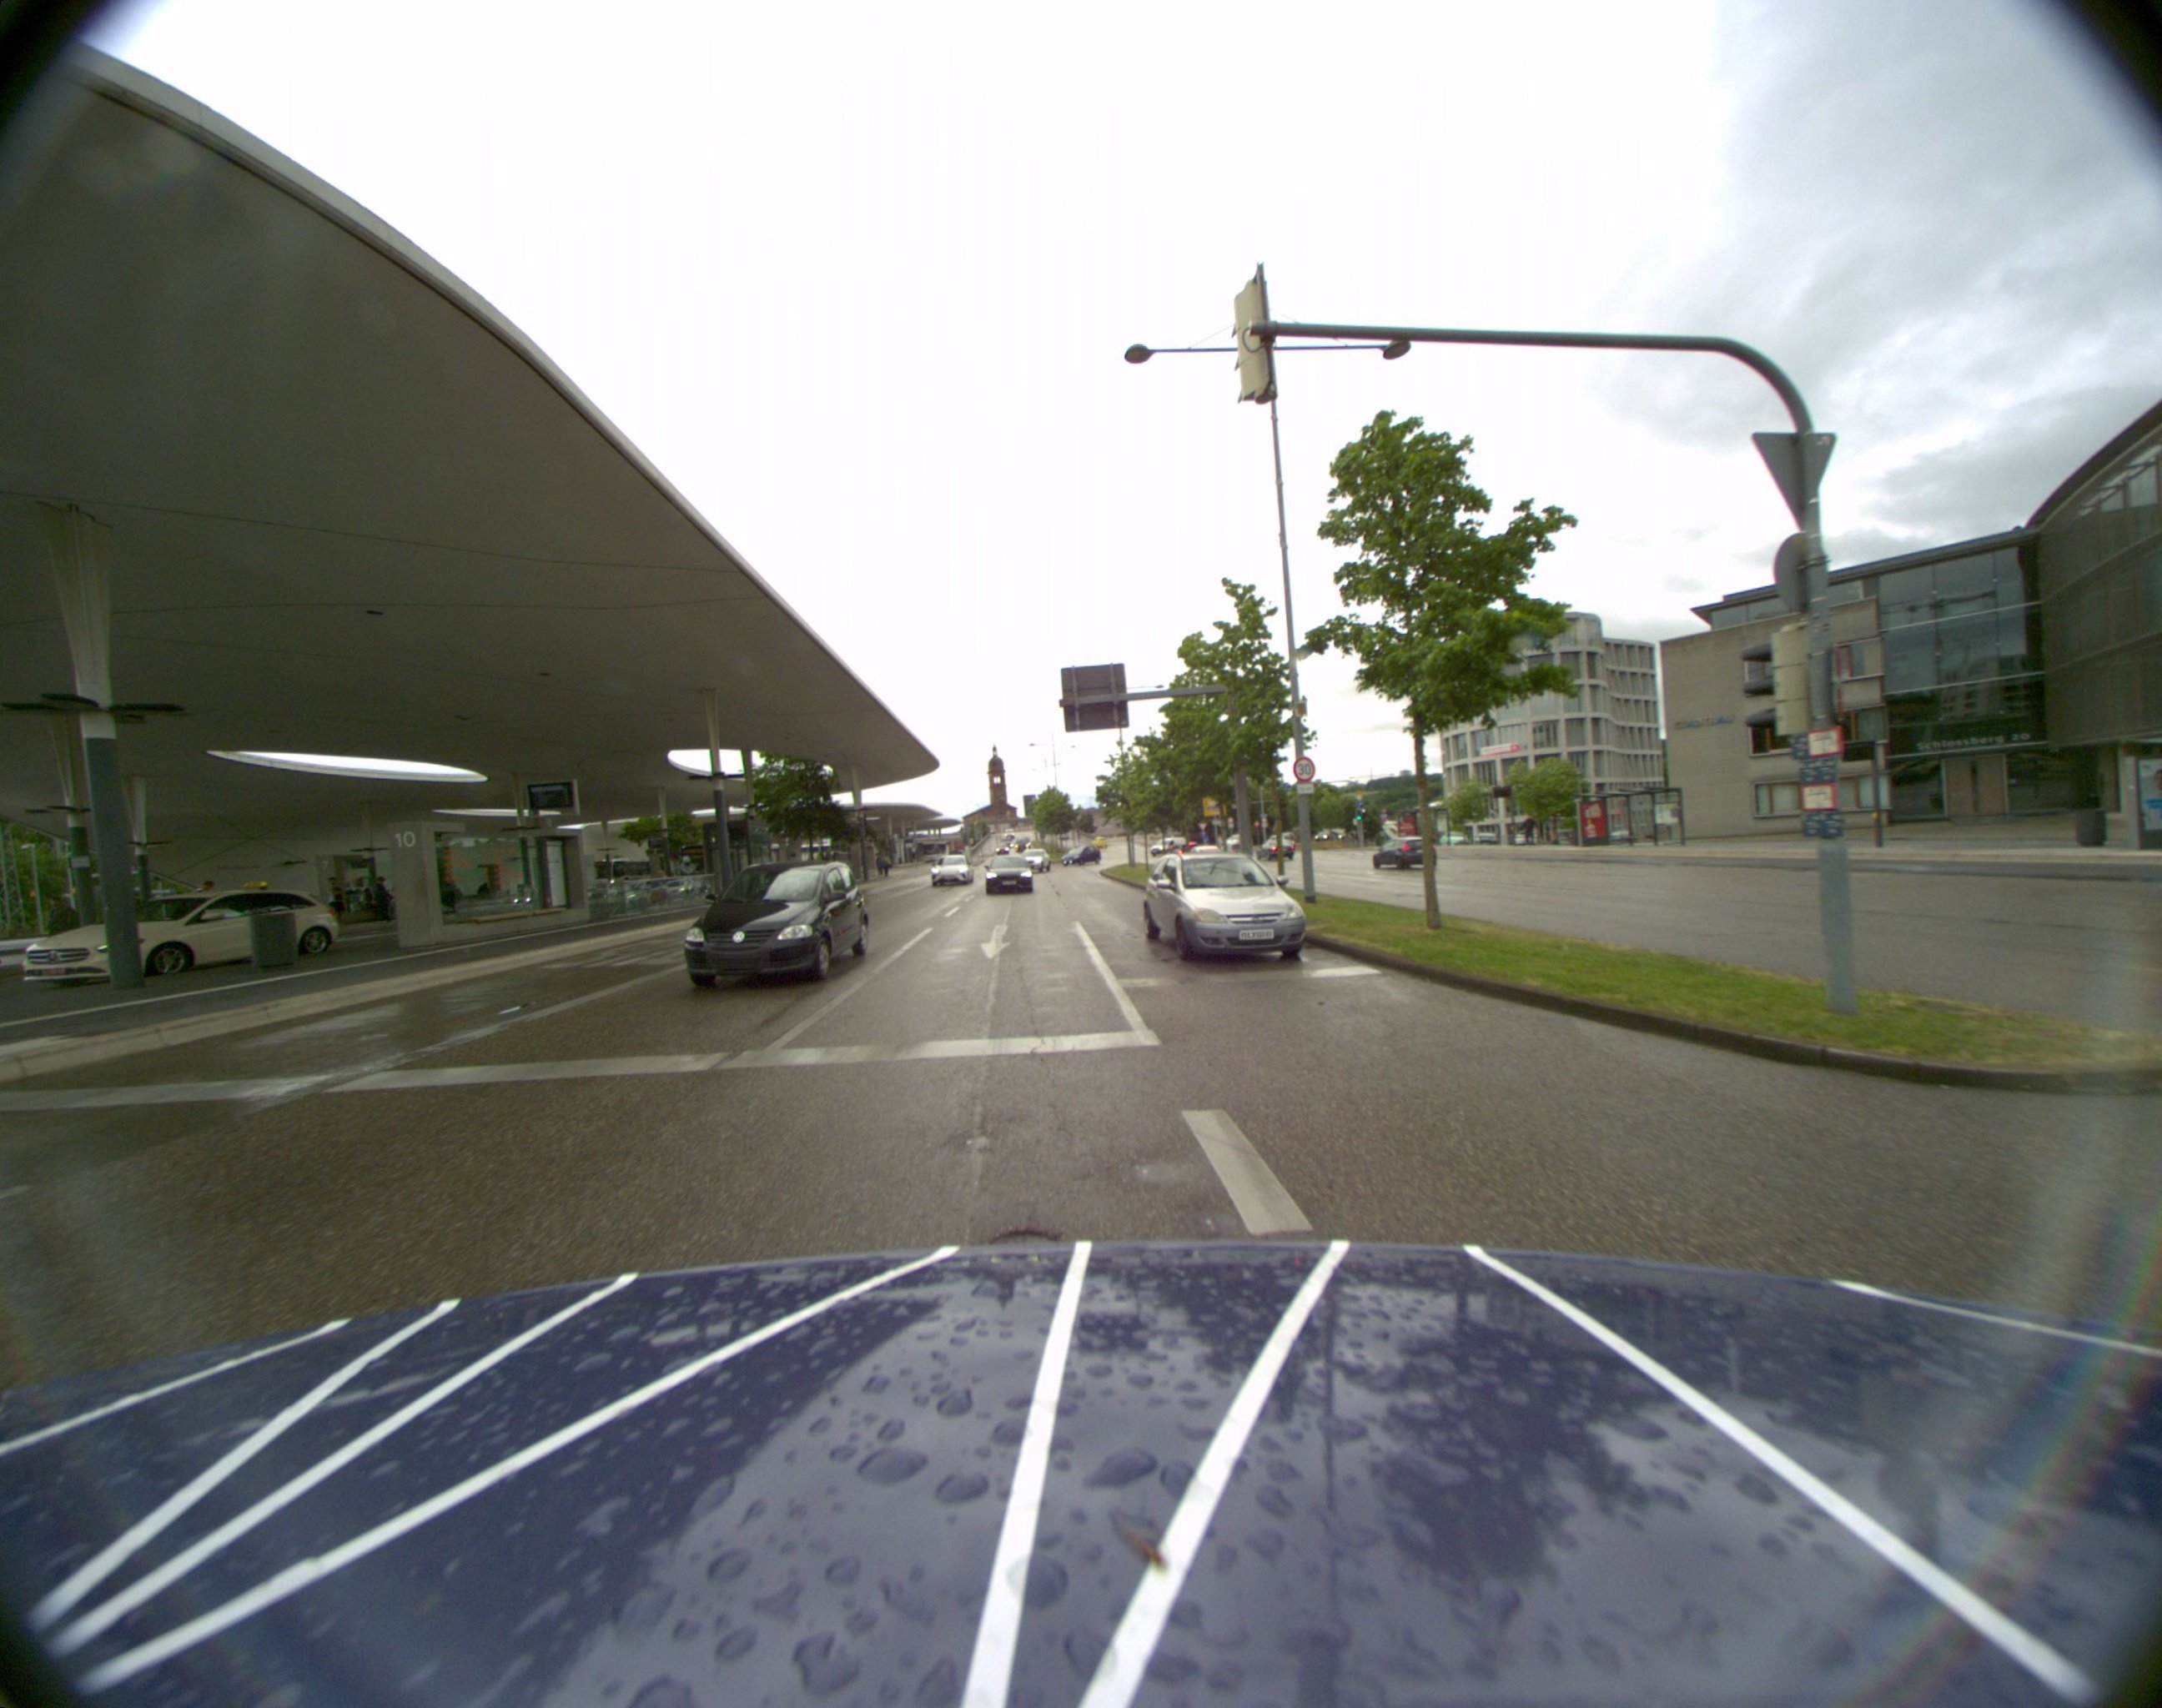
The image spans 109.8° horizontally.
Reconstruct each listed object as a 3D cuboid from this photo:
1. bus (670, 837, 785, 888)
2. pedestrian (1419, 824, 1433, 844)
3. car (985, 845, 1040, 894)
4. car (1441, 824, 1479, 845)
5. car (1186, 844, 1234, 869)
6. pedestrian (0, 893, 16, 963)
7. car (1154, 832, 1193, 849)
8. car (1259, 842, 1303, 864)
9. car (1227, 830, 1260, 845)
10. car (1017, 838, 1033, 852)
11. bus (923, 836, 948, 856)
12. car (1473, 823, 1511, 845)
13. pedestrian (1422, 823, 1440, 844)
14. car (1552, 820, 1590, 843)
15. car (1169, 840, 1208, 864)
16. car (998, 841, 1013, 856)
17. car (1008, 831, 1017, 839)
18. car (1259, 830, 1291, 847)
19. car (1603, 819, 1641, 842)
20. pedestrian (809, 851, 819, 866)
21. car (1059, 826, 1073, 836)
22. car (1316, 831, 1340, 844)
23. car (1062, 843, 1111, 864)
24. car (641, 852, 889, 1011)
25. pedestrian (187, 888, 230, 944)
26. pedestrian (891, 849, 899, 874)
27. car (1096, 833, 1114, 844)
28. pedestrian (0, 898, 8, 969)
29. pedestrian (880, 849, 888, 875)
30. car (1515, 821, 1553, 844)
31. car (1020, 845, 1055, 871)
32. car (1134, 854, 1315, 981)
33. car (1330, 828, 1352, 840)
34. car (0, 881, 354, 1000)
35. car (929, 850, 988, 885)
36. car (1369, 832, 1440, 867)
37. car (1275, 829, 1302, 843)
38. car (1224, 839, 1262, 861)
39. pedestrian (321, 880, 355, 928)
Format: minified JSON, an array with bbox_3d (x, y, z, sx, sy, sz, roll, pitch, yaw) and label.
[{"bbox_3d":[-24.139,0.469,52.894,2.877,3.064,11.916,-2,1,-3],"label":"bus"},{"bbox_3d":[25.351,-1.479,55.831,0.733,1.482,0.734,-2,2,5],"label":"pedestrian"},{"bbox_3d":[-2.596,0.556,29.796,1.876,1.692,4.155,-2,1,-2],"label":"car"},{"bbox_3d":[32.843,-1.700,65.724,1.871,1.692,4.165,-1,2,42],"label":"car"},{"bbox_3d":[7.735,0.115,45.944,2.010,1.345,4.162,-2,1,-3],"label":"car"},{"bbox_3d":[-24.037,1.645,16.681,0.535,1.505,0.479,-3,2,1],"label":"pedestrian"},{"bbox_3d":[9.754,-1.441,80.009,4.165,1.625,1.871,-3,2,-45],"label":"car"},{"bbox_3d":[14.422,-0.112,54.900,1.961,1.414,3.998,-2,1,-2],"label":"car"},{"bbox_3d":[19.250,-1.979,90.159,1.871,1.625,4.293,-1,2,42],"label":"car"},{"bbox_3d":[-8.302,-1.382,113.029,2.000,2.002,3.996,-2,1,-9],"label":"car"},{"bbox_3d":[-23.894,-1.288,124.445,3.586,3.080,10.742,-3,1,-12],"label":"bus"},{"bbox_3d":[34.655,-1.721,63.990,1.871,1.692,4.165,-1,2,42],"label":"car"},{"bbox_3d":[25.280,-1.455,54.854,0.983,1.482,0.734,-2,2,7],"label":"pedestrian"},{"bbox_3d":[39.046,-1.832,60.527,1.871,1.692,4.165,-1,2,42],"label":"car"},{"bbox_3d":[7.458,-0.164,53.042,2.010,1.545,4.163,-2,1,-1],"label":"car"},{"bbox_3d":[-10.910,-0.842,110.085,1.999,2.002,3.998,-2,1,-4],"label":"car"},{"bbox_3d":[-14.624,-4.073,161.281,1.650,1.552,3.646,-2,1,-9],"label":"car"},{"bbox_3d":[18.968,-1.528,74.392,1.960,1.609,4.207,-2,1,0],"label":"car"},{"bbox_3d":[41.350,-1.811,58.046,1.871,1.692,4.165,-1,2,42],"label":"car"},{"bbox_3d":[-35.579,0.597,101.231,1.026,2.002,0.878,-3,2,-23],"label":"pedestrian"},{"bbox_3d":[-2.886,-4.379,143.801,1.877,1.625,4.153,-3,1,-10],"label":"car"},{"bbox_3d":[35.582,-2.369,109.472,1.889,1.704,4.225,-1,2,37],"label":"car"},{"bbox_3d":[0.494,-0.057,66.485,1.871,1.625,4.165,0,2,44],"label":"car"},{"bbox_3d":[-4.122,0.873,10.753,1.876,1.692,4.155,-2,1,-3],"label":"car"},{"bbox_3d":[-24.161,1.706,21.049,0.479,1.505,0.535,-3,2,0],"label":"pedestrian"},{"bbox_3d":[-13.056,0.512,53.469,0.446,1.754,0.536,-3,2,-13],"label":"pedestrian"},{"bbox_3d":[3.760,-2.354,116.993,1.873,1.625,4.161,-2,1,14],"label":"car"},{"bbox_3d":[-23.311,1.705,16.026,0.535,1.505,0.479,-3,2,1],"label":"pedestrian"},{"bbox_3d":[-14.011,0.564,53.982,0.445,1.754,0.537,-3,2,-10],"label":"pedestrian"},{"bbox_3d":[36.950,-1.766,61.978,1.872,1.692,4.165,-1,1,42],"label":"car"},{"bbox_3d":[-3.058,0.250,53.975,1.875,1.625,4.301,-2,1,4],"label":"car"},{"bbox_3d":[1.939,0.786,11.358,1.699,1.457,3.717,-2,1,-5],"label":"car"},{"bbox_3d":[40.044,-3.067,116.985,1.889,1.704,4.225,-1,2,38],"label":"car"},{"bbox_3d":[-17.414,1.524,14.918,1.999,1.672,4.539,-2,1,-3],"label":"car"},{"bbox_3d":[-6.255,0.661,39.321,1.810,1.550,4.051,-2,1,9],"label":"car"},{"bbox_3d":[15.023,-0.228,35.490,1.681,1.504,3.862,-2,1,0],"label":"car"},{"bbox_3d":[26.776,-2.285,97.884,1.872,1.625,4.165,-2,1,37],"label":"car"},{"bbox_3d":[11.391,-0.301,53.683,1.699,1.457,4.450,-2,1,0],"label":"car"},{"bbox_3d":[-24.429,1.629,24.982,0.479,1.505,0.535,-3,2,0],"label":"pedestrian"}]
